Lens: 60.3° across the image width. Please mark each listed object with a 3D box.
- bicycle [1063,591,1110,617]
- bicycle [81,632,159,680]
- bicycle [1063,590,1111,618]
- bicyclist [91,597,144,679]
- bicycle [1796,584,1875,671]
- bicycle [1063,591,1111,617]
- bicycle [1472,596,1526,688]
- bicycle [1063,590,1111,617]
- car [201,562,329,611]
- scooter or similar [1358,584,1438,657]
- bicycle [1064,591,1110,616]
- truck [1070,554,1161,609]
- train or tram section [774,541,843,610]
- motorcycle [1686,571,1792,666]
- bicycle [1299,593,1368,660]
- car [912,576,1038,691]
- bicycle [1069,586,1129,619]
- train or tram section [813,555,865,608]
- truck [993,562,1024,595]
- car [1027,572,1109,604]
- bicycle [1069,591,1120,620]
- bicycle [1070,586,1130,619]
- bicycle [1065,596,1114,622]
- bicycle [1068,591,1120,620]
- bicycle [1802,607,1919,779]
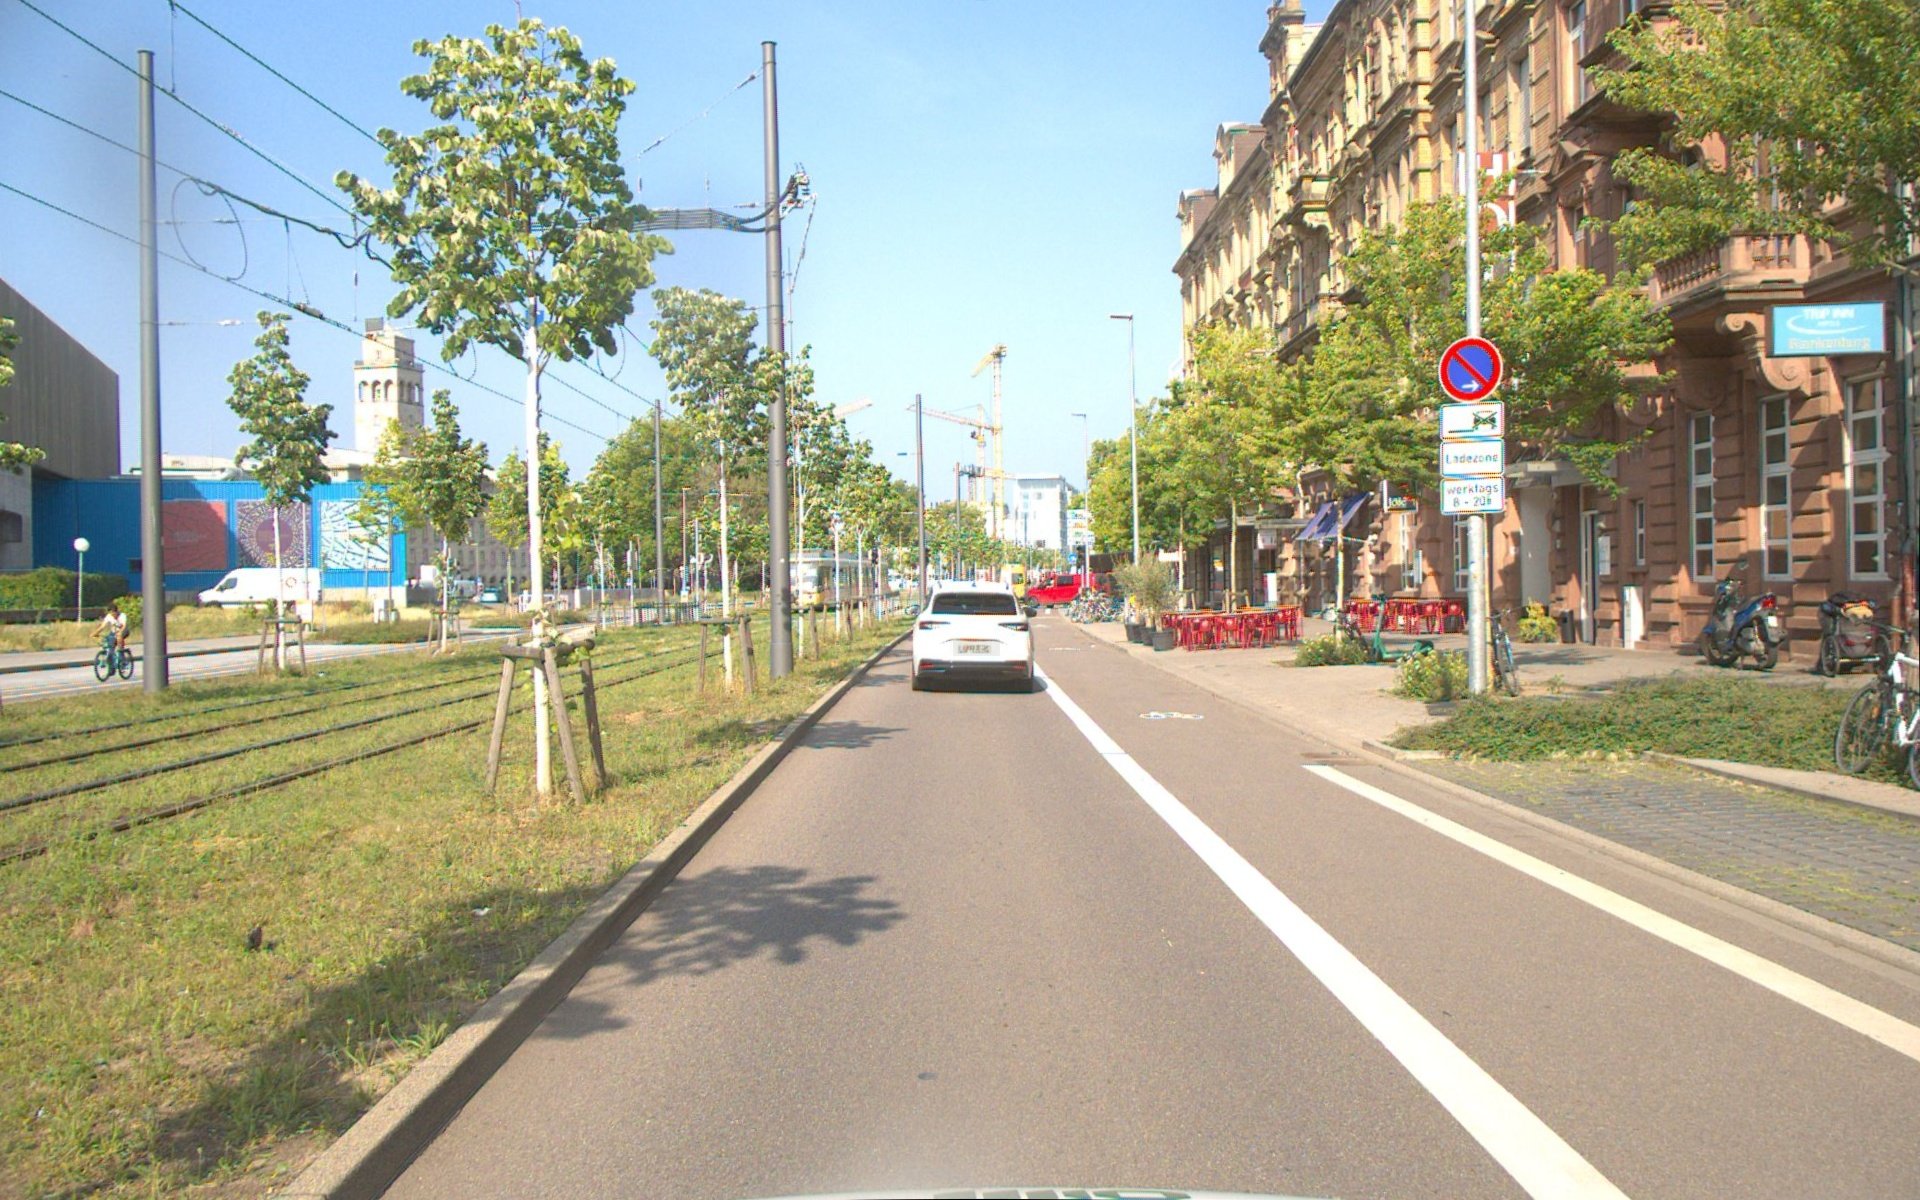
[{"bbox_3d":[5.241,0.146,68.383,1.894,0.962,0.429,-3,0,4],"label":"bicycle"},{"bbox_3d":[-18.573,1.227,36.608,0.648,0.978,2.078,-3,0,0],"label":"bicycle"},{"bbox_3d":[5.157,0.159,67.074,1.894,1.030,0.441,-3,0,4],"label":"bicycle"},{"bbox_3d":[-18.596,0.830,36.534,0.634,1.766,0.918,-3,0,-1],"label":"bicyclist"},{"bbox_3d":[10.844,0.325,20.504,0.388,1.036,1.256,-1,0,5],"label":"bicycle"},{"bbox_3d":[5.214,0.145,68.000,1.894,0.962,0.441,-3,0,4],"label":"bicycle"},{"bbox_3d":[6.955,0.527,21.386,0.494,1.078,1.715,-3,1,14],"label":"bicycle"},{"bbox_3d":[5.183,0.143,67.521,1.894,0.962,0.441,-3,0,4],"label":"bicycle"},{"bbox_3d":[-40.821,-0.770,97.362,6.777,2.685,2.498,1,0,-22],"label":"car"},{"bbox_3d":[7.505,0.351,28.365,1.230,1.177,0.340,-3,0,3],"label":"scooter or similar"},{"bbox_3d":[5.285,0.148,68.826,1.894,0.962,0.429,-3,0,4],"label":"bicycle"},{"bbox_3d":[9.069,-1.057,97.317,2.475,3.064,6.914,-1,1,-22],"label":"truck"},{"bbox_3d":[-8.693,-1.333,96.354,2.839,3.649,12.475,-2,0,0],"label":"train or tram section"},{"bbox_3d":[10.422,0.236,22.193,0.454,1.196,1.945,-3,0,0],"label":"motorcycle"},{"bbox_3d":[6.671,0.459,29.634,0.584,1.142,1.923,-1,0,-7],"label":"bicycle"},{"bbox_3d":[0.199,0.459,25.579,1.780,1.617,4.406,0,0,0],"label":"car"},{"bbox_3d":[5.289,0.092,62.834,2.193,1.123,0.519,-3,0,1],"label":"bicycle"},{"bbox_3d":[-8.769,-1.299,121.529,2.839,3.649,12.224,-2,0,0],"label":"train or tram section"},{"bbox_3d":[3.496,-1.550,120.378,2.167,2.358,5.891,-1,1,2],"label":"truck"},{"bbox_3d":[6.024,-0.667,92.411,4.288,1.713,1.989,-1,1,41],"label":"car"},{"bbox_3d":[5.166,0.203,63.670,1.895,1.003,0.471,-3,0,1],"label":"bicycle"},{"bbox_3d":[5.267,0.091,62.279,2.193,1.123,0.588,-3,0,1],"label":"bicycle"},{"bbox_3d":[5.124,0.359,65.421,1.895,0.889,0.441,-3,0,1],"label":"bicycle"},{"bbox_3d":[5.190,0.204,64.150,1.915,1.003,0.471,-3,0,1],"label":"bicycle"},{"bbox_3d":[6.604,0.624,11.563,0.482,1.113,1.826,-1,0,0],"label":"bicycle"}]
